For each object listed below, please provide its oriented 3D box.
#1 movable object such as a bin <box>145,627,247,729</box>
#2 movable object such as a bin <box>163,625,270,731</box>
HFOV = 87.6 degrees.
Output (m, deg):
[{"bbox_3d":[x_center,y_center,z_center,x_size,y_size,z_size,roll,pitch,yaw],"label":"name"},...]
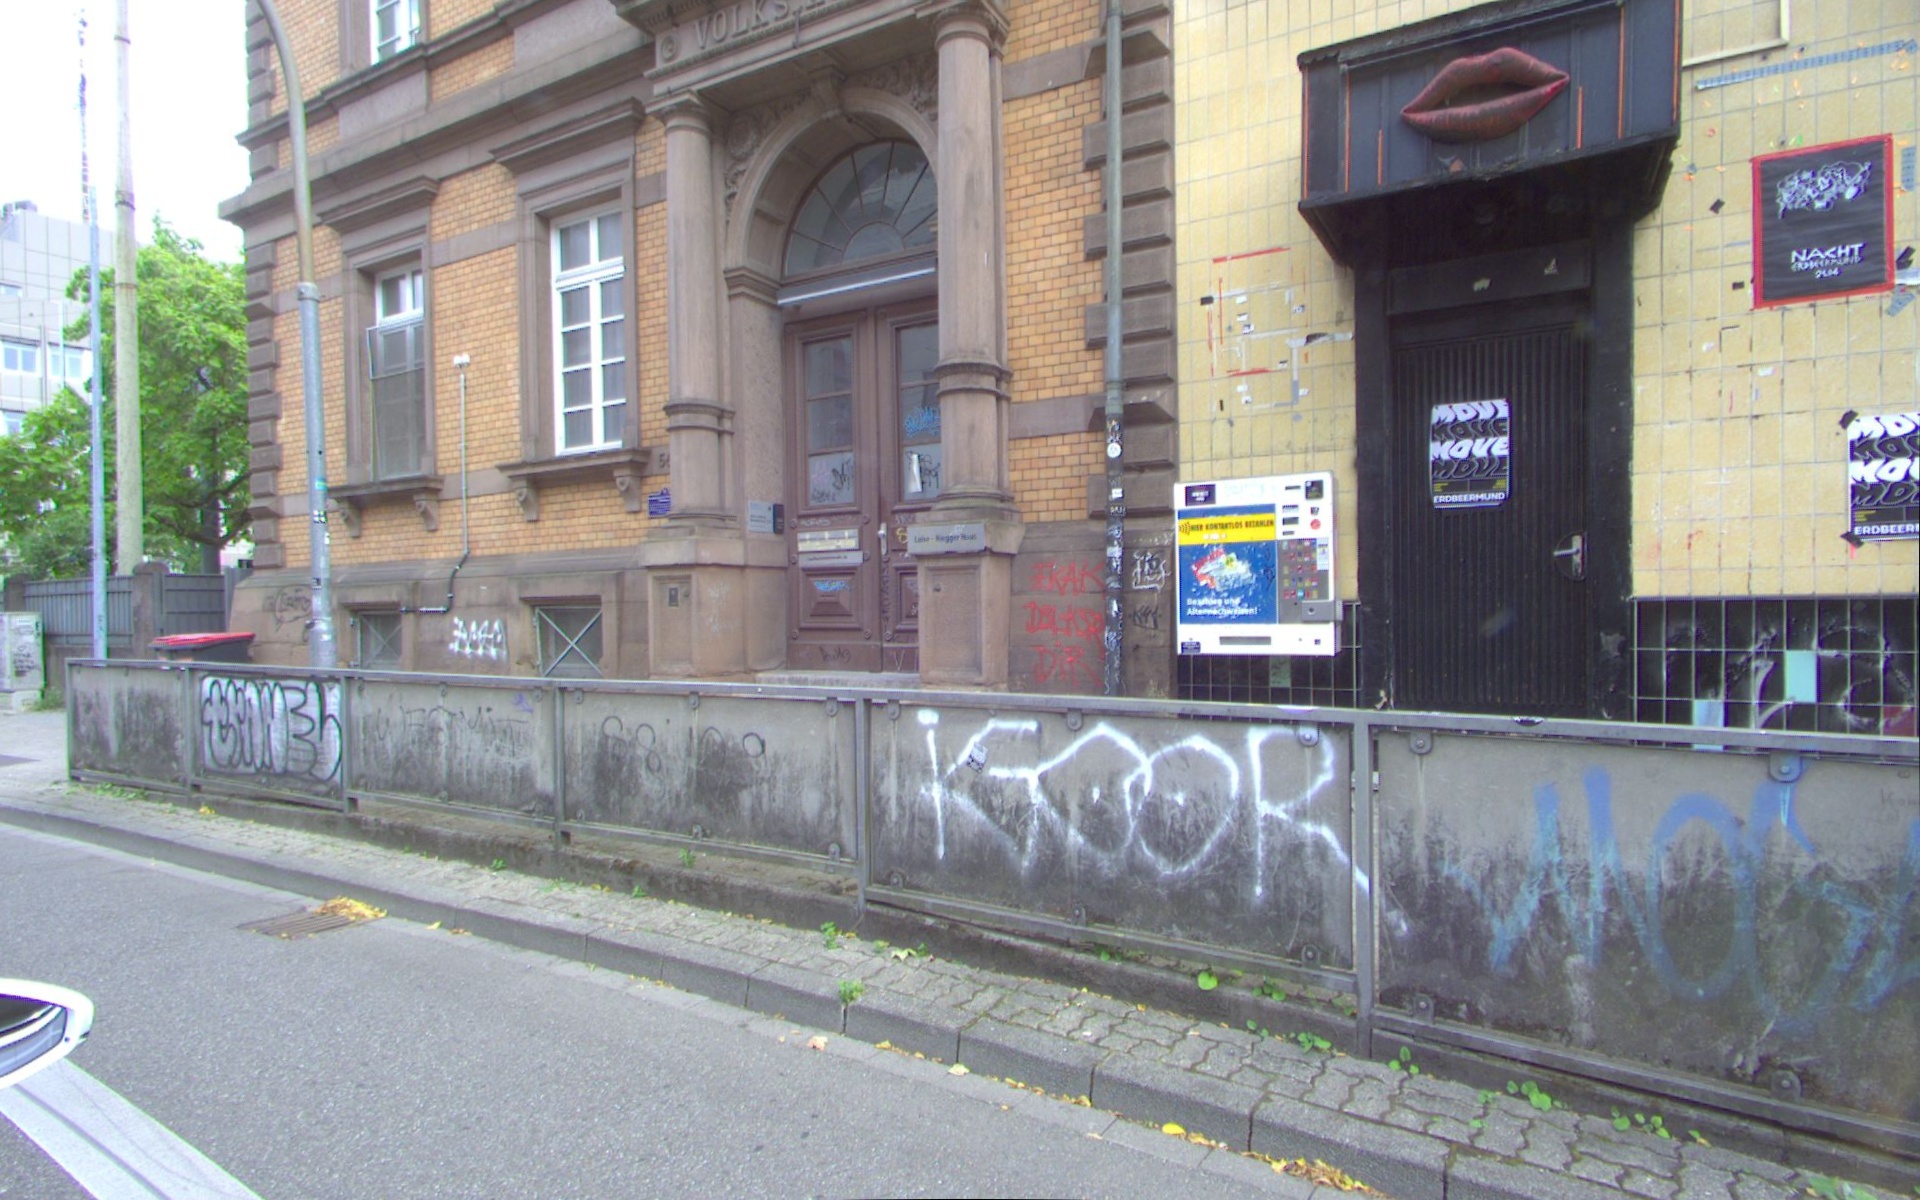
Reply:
[{"bbox_3d":[-8.885,0.890,11.651,0.667,1.097,0.650,-1,4,27],"label":"movable object such as a bin"},{"bbox_3d":[-8.322,0.856,11.220,0.690,1.097,0.662,-1,4,27],"label":"movable object such as a bin"}]
